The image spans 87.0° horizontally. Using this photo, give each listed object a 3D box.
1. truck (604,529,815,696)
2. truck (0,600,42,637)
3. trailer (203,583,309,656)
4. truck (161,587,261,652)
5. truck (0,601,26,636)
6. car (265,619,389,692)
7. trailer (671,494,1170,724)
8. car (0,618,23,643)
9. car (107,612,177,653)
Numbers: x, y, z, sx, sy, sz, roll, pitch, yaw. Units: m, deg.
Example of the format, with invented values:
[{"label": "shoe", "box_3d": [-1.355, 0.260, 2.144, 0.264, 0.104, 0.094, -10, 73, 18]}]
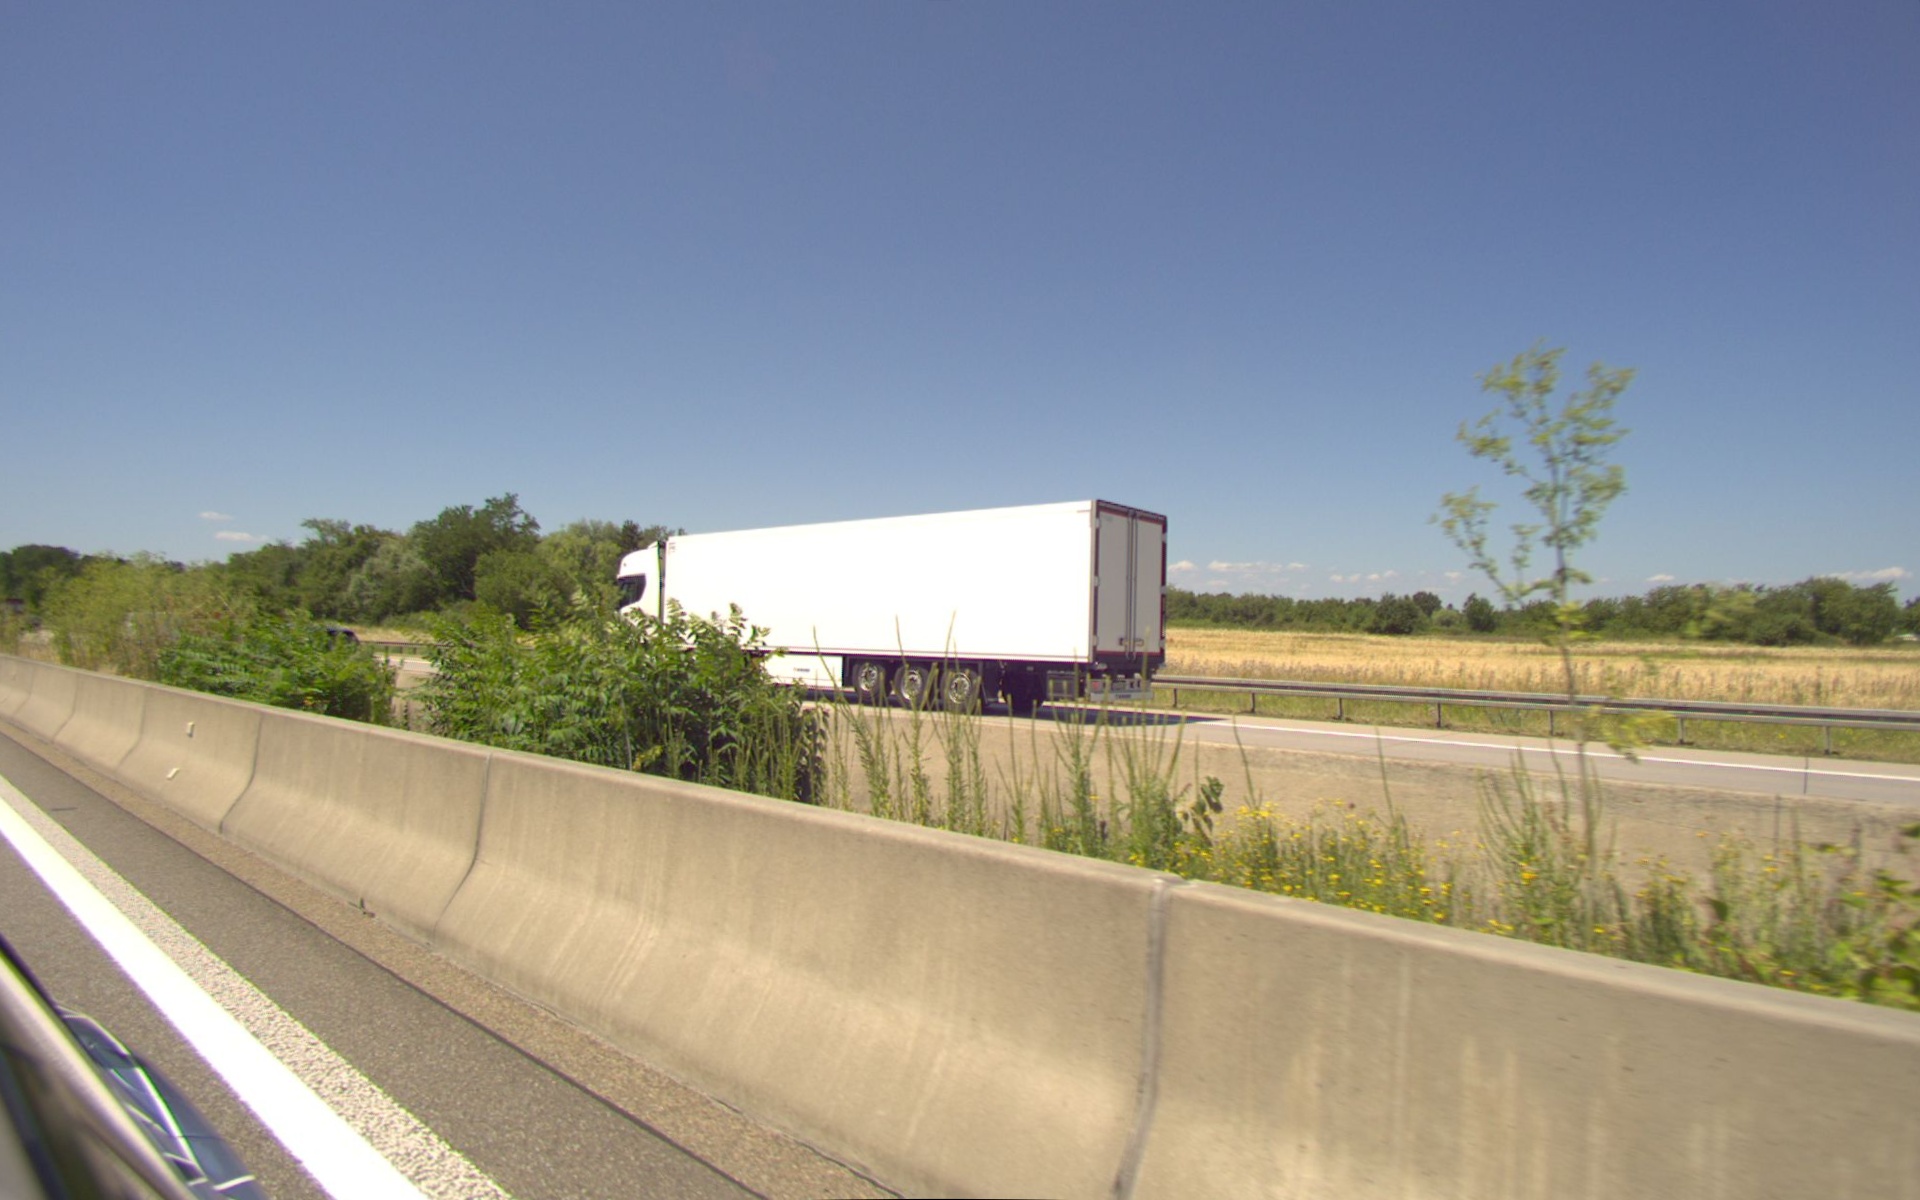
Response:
[{"label": "truck", "box_3d": [-6.867, 0.387, 27.455, 5.752, 4.045, 2.652, -1, -3, 40]}, {"label": "truck", "box_3d": [-108.422, 2.143, 116.149, 13.513, 4.045, 2.732, -1, -4, 41]}, {"label": "trailer", "box_3d": [-38.835, 1.104, 55.691, 8.531, 3.689, 2.625, -1, -4, 41]}, {"label": "truck", "box_3d": [-45.895, 1.233, 61.853, 10.183, 3.689, 2.624, -1, -4, 41]}, {"label": "truck", "box_3d": [-113.938, 2.247, 120.861, 5.747, 4.045, 2.732, -1, -4, 40]}, {"label": "car", "box_3d": [-15.479, 1.288, 24.701, 3.672, 1.632, 1.576, -1, -1, 41]}, {"label": "trailer", "box_3d": [-1.663, 0.288, 22.983, 12.958, 4.045, 2.667, -1, -3, 41]}, {"label": "car", "box_3d": [-62.815, 1.993, 66.231, 3.816, 1.591, 1.748, -1, -3, 41]}, {"label": "car", "box_3d": [-41.934, 1.672, 51.832, 4.735, 2.002, 1.863, -1, -4, 40]}]
